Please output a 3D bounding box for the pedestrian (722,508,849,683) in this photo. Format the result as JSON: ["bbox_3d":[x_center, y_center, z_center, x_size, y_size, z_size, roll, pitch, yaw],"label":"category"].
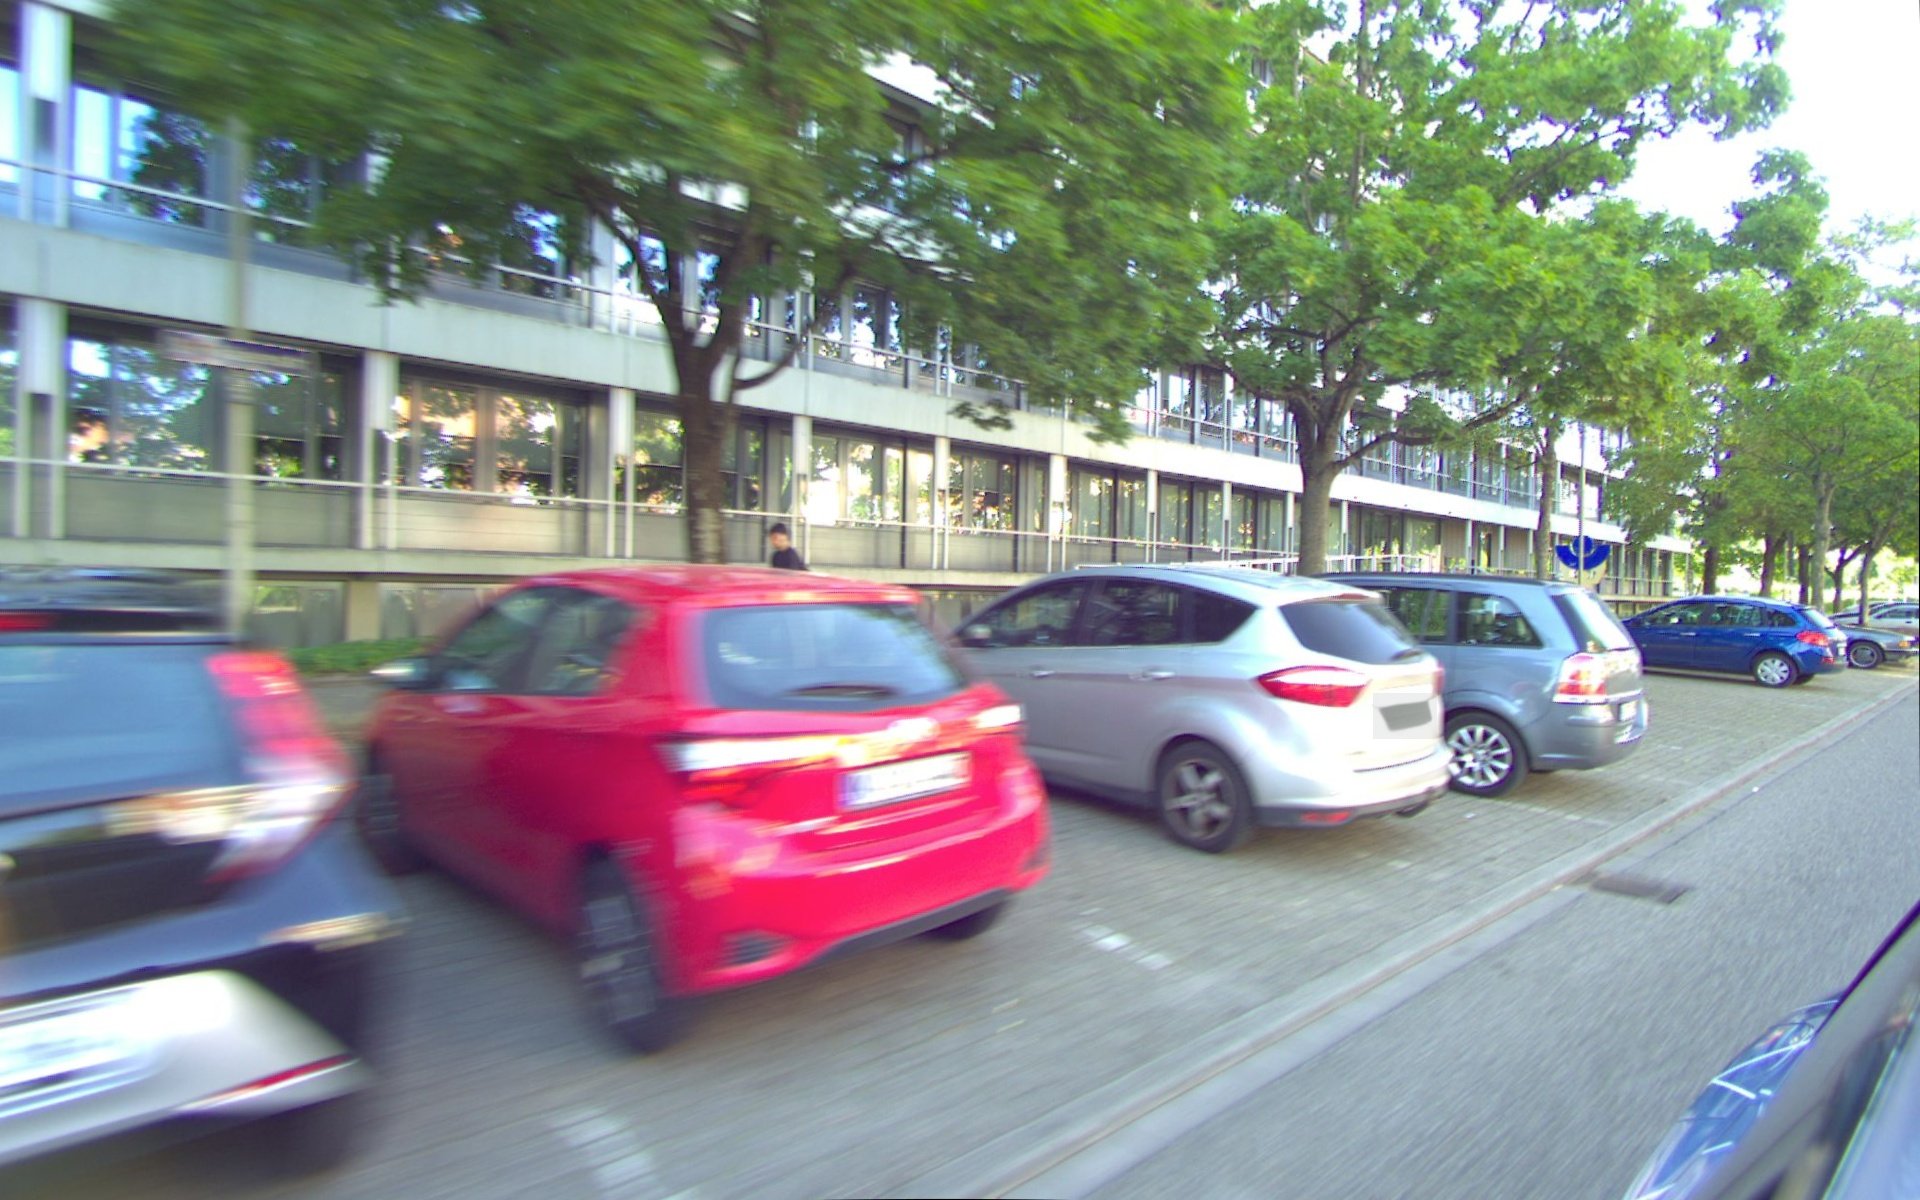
[{"bbox_3d":[-1.942,-0.050,11.264,1.001,1.821,1.036,0,0,-43],"label":"pedestrian"}]

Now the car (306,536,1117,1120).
[{"bbox_3d":[-1.491,0.523,4.757,4.126,1.536,1.807,3,2,45],"label":"car"}]

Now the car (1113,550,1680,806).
[{"bbox_3d":[3.584,0.445,8.818,4.126,1.687,1.877,3,2,45],"label":"car"}]

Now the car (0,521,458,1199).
[{"bbox_3d":[-3.182,0.497,3.158,4.127,1.479,1.634,5,3,45],"label":"car"}]

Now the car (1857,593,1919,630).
[{"bbox_3d":[41.530,0.526,43.741,1.774,1.497,3.991,0,3,-44],"label":"car"}]

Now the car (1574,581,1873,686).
[{"bbox_3d":[13.729,0.513,18.413,1.683,1.513,3.999,0,3,-38],"label":"car"}]

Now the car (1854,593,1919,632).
[{"bbox_3d":[39.724,0.551,41.856,1.774,1.497,3.991,0,3,-44],"label":"car"}]

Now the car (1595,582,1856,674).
[{"bbox_3d":[15.412,0.484,20.566,1.558,1.513,3.917,0,3,-38],"label":"car"}]

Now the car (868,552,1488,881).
[{"bbox_3d":[1.205,0.494,7.010,1.683,1.604,3.996,0,2,-40],"label":"car"}]

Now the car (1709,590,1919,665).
[{"bbox_3d":[20.049,0.573,23.621,1.562,1.399,3.909,-1,4,-45],"label":"car"}]

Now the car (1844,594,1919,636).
[{"bbox_3d":[36.062,0.590,38.121,1.774,1.497,3.991,0,2,-44],"label":"car"}]
